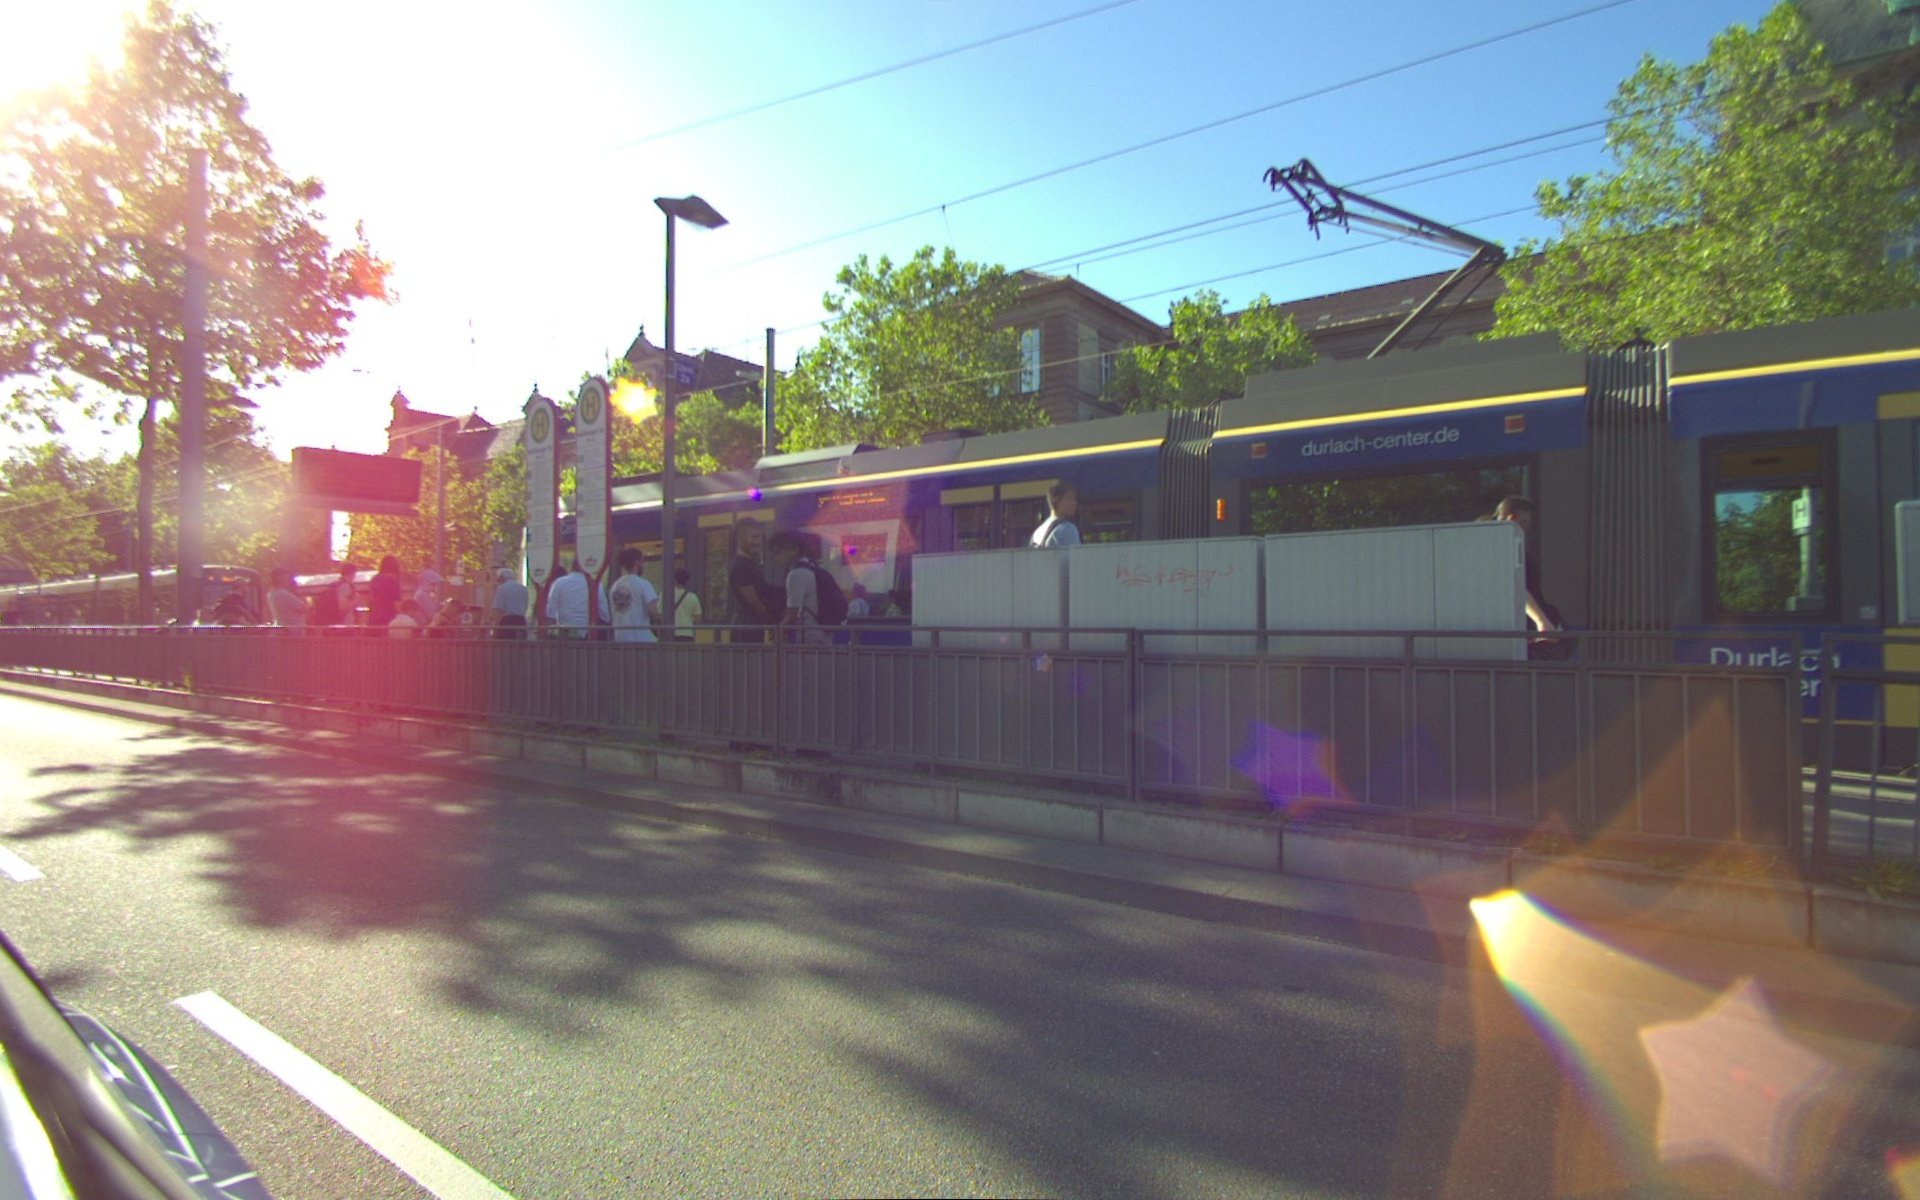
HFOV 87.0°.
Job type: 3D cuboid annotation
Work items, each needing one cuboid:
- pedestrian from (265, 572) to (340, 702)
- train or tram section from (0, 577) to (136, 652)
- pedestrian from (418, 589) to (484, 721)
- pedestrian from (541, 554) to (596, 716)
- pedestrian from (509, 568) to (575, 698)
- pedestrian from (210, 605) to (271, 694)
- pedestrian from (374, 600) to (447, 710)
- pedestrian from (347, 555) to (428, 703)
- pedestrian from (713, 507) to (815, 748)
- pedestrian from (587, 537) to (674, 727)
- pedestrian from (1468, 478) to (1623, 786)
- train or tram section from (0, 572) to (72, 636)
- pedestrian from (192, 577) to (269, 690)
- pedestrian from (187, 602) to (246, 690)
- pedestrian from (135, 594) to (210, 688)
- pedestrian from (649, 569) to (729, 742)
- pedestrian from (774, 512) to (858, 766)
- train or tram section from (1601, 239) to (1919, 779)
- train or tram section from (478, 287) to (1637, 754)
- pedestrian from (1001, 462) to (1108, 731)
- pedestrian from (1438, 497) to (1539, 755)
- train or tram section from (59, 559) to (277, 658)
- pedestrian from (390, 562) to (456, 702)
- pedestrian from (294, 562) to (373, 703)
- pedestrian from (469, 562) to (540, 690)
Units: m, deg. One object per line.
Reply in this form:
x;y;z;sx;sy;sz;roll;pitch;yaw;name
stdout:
-8.658;0.486;13.325;0.570;1.646;0.654;-2;-3;38;pedestrian
-47.851;0.861;53.361;18.248;3.460;2.844;-2;-1;38;train or tram section
-5.296;0.565;10.538;0.506;1.326;0.412;-1;-3;36;pedestrian
-4.306;0.383;11.128;0.498;1.715;0.613;1;-2;-25;pedestrian
-5.091;0.400;12.339;0.530;1.530;0.540;-2;-3;37;pedestrian
-10.442;0.717;14.686;0.603;1.256;0.529;-1;-3;35;pedestrian
-6.255;0.618;11.522;0.530;1.201;0.540;-2;-3;37;pedestrian
-6.827;0.346;12.077;0.570;1.709;0.654;-2;-3;38;pedestrian
-1.494;0.209;7.746;0.538;1.747;0.543;-1;-2;33;pedestrian
-3.099;0.302;9.528;0.610;1.715;0.501;-1;-2;33;pedestrian
3.530;0.188;6.102;0.745;1.715;0.627;-1;-2;33;pedestrian
-44.462;0.346;46.533;15.651;2.584;2.538;-1;-2;38;train or tram section
-11.808;0.540;16.380;0.721;1.766;0.769;-1;-3;34;pedestrian
-11.273;0.696;15.348;0.603;1.309;0.529;-1;-3;34;pedestrian
-13.159;0.687;16.916;0.750;1.521;0.769;-1;-3;34;pedestrian
-2.896;0.584;10.834;0.610;1.783;0.548;-1;-2;33;pedestrian
-1.041;0.276;7.279;0.530;1.747;0.551;1;-2;-14;pedestrian
10.627;-0.581;4.415;13.088;3.284;2.888;0;0;37;train or tram section
-0.845;-0.556;13.116;15.869;3.284;2.887;0;0;38;train or tram section
0.649;-0.017;6.946;0.538;1.747;0.543;-1;-2;33;pedestrian
3.725;0.181;7.127;0.544;1.715;0.603;-1;-2;33;pedestrian
-33.452;0.504;42.130;18.187;3.460;2.822;-2;-1;38;train or tram section
-6.831;0.404;12.871;0.620;1.721;0.510;-2;-3;37;pedestrian
-7.841;0.405;12.674;0.570;1.709;0.654;-2;-3;38;pedestrian
-6.089;0.346;13.542;0.621;1.662;0.613;-1;-2;33;pedestrian
